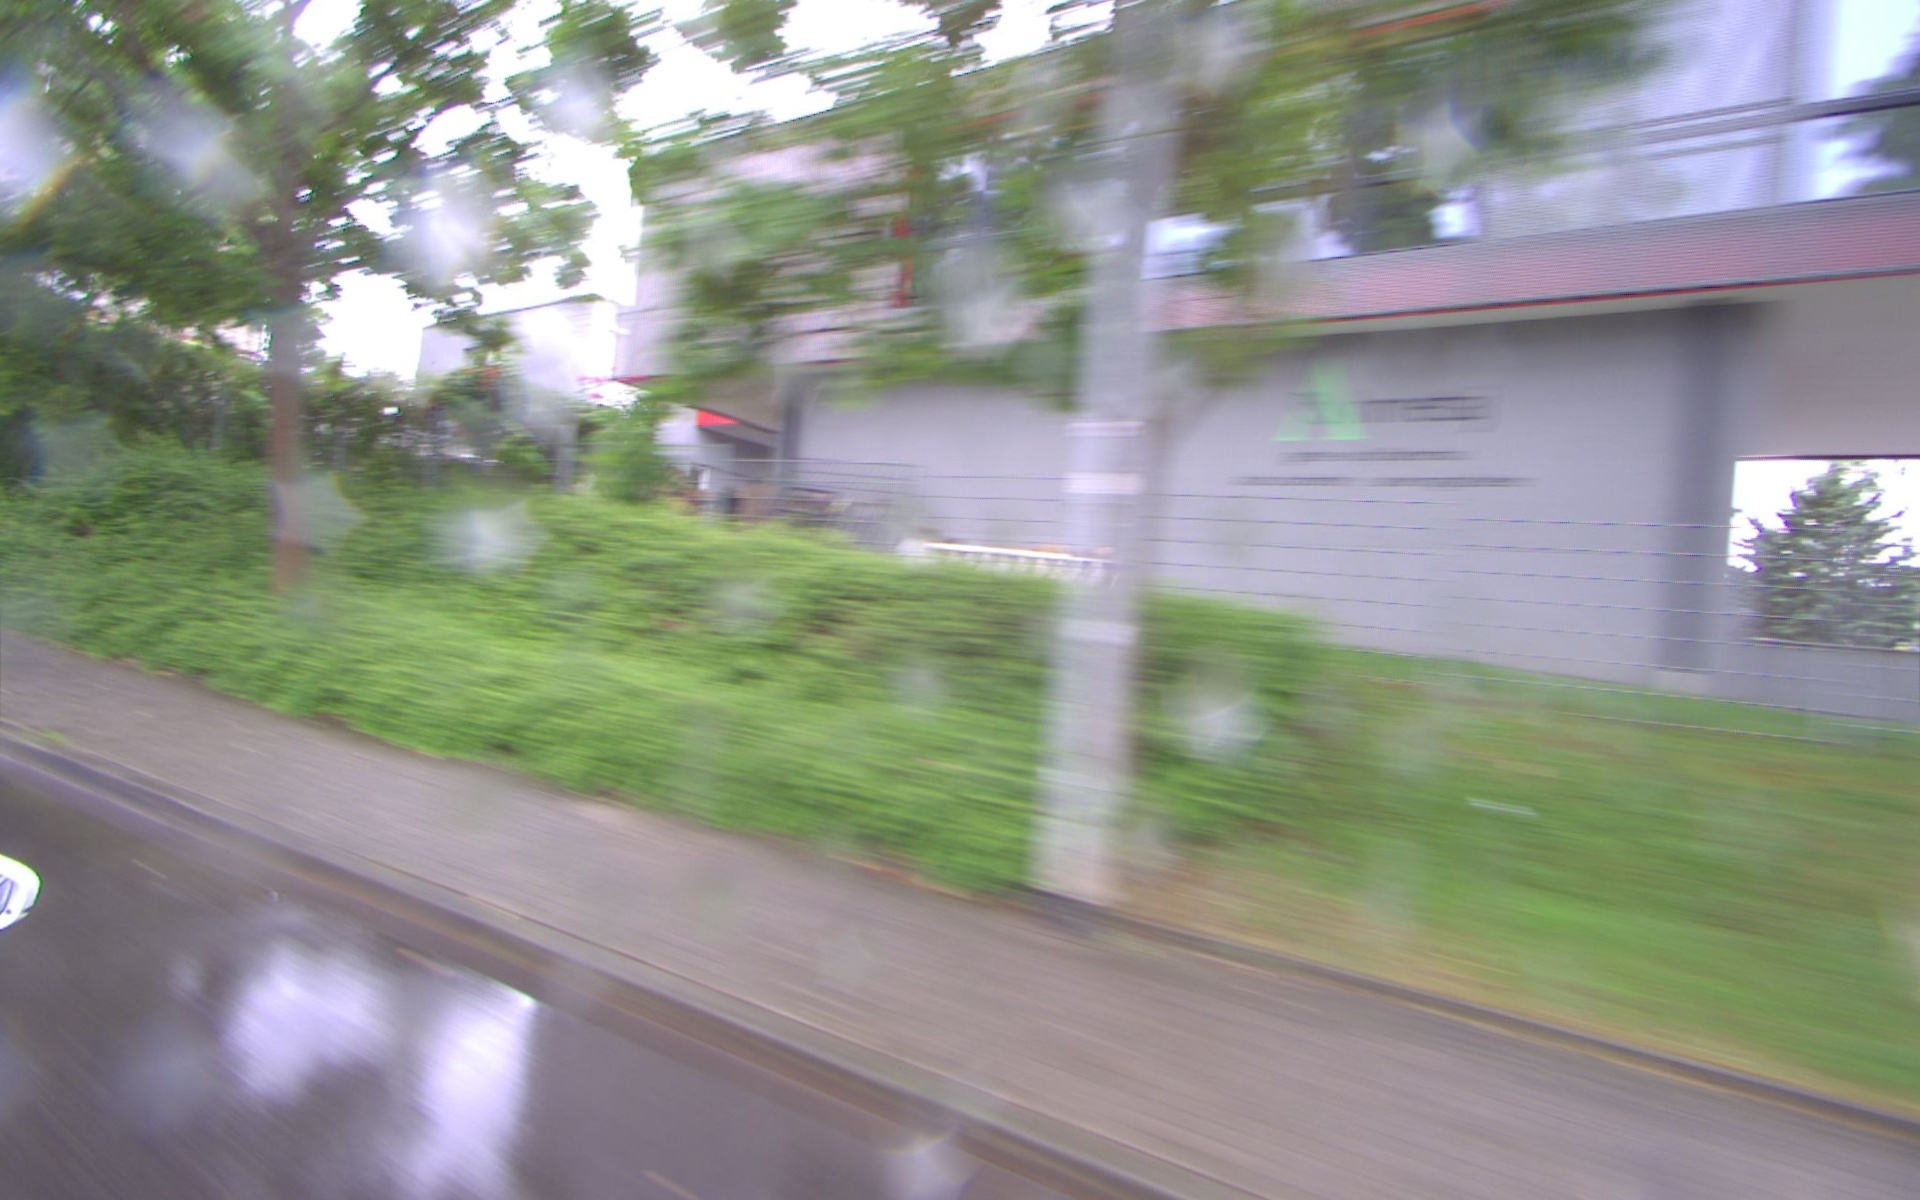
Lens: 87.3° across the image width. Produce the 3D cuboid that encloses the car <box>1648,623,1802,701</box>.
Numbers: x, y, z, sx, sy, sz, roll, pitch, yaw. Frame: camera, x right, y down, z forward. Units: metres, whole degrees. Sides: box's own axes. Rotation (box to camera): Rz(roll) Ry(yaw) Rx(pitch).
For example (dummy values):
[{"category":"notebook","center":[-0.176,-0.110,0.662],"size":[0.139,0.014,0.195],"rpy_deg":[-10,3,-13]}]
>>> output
[{"category":"car","center":[18.249,1.455,24.140],"size":[2.677,1.465,1.672],"rpy_deg":[7,2,33]}]

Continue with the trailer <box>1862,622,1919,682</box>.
[{"category":"trailer","center":[70.378,3.937,74.309],"size":[2.352,4.143,4.680],"rpy_deg":[5,2,-17]}]
